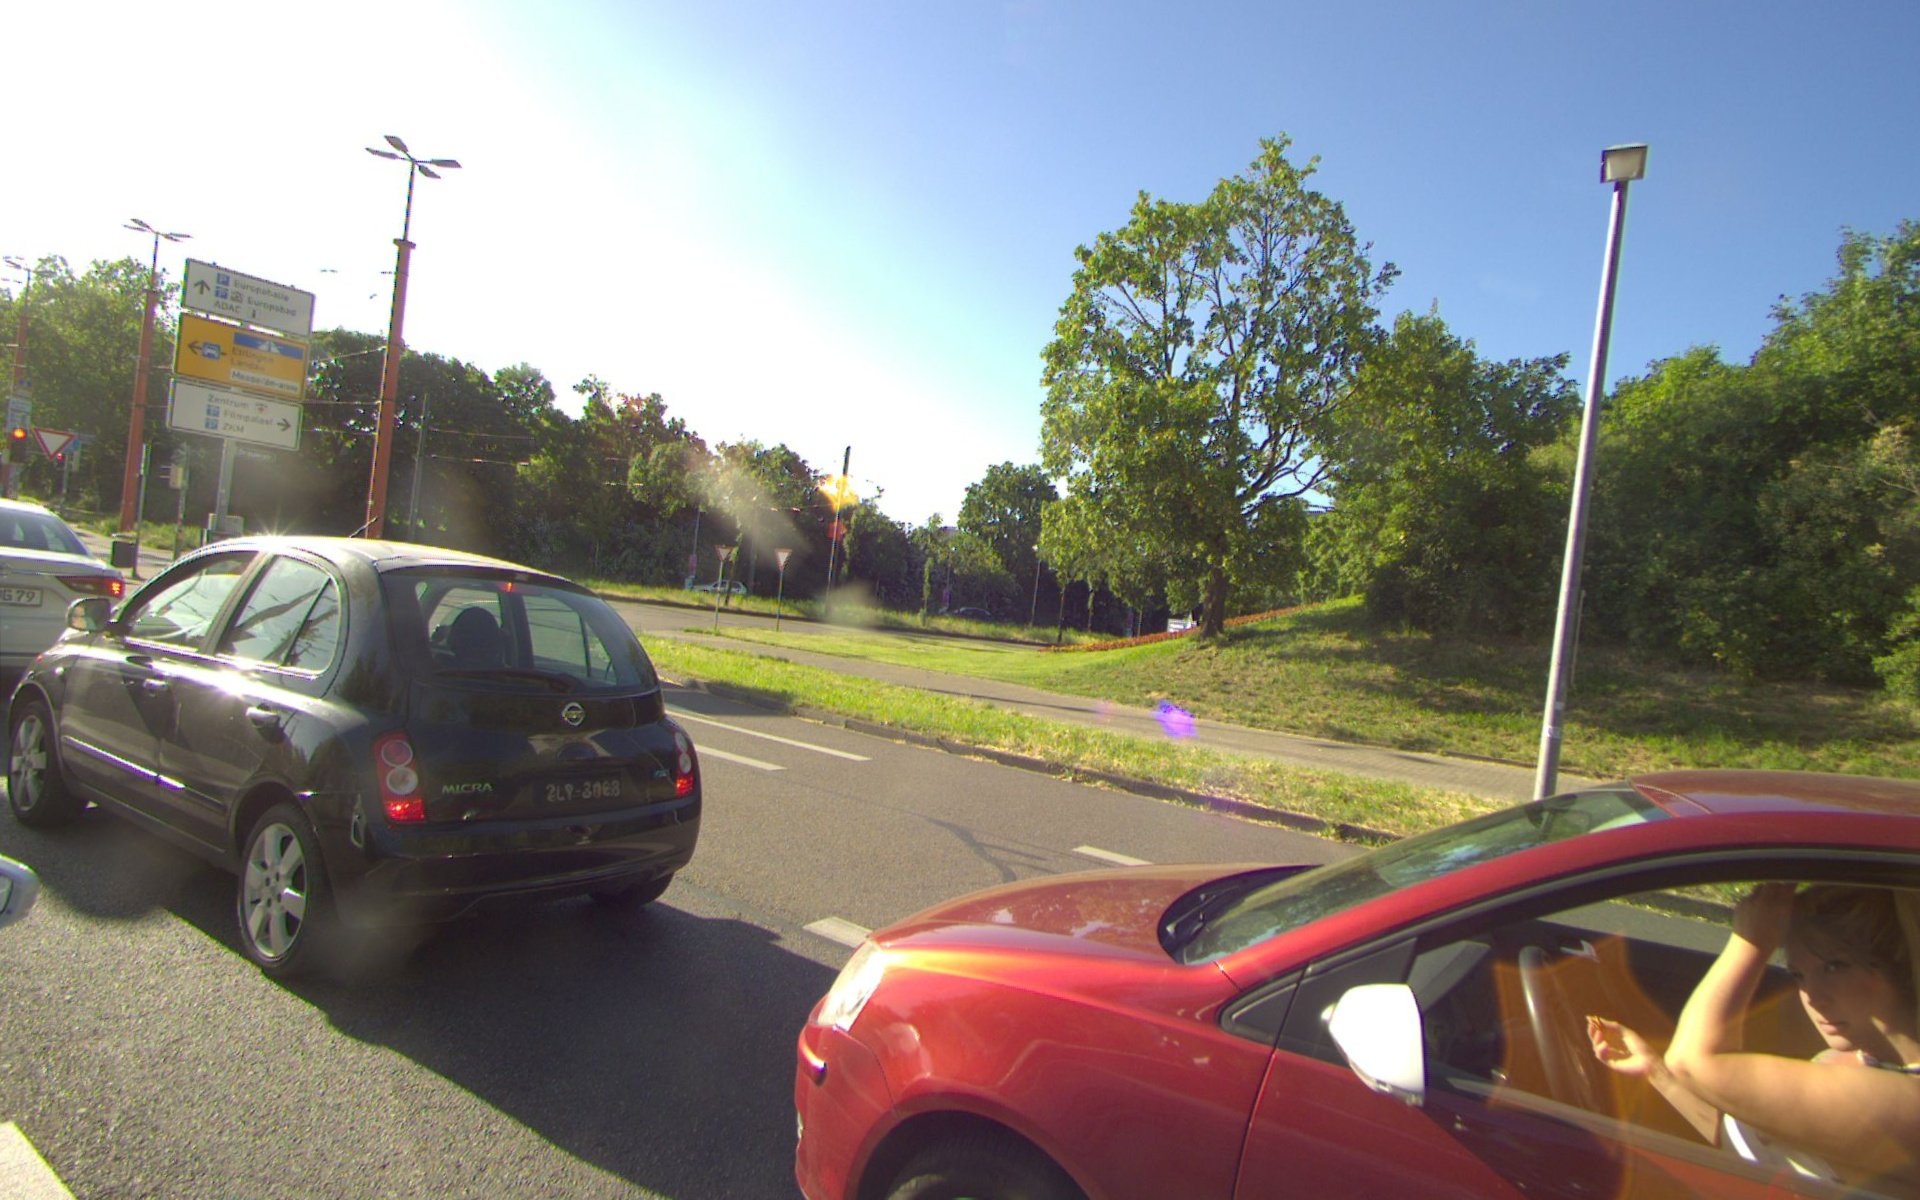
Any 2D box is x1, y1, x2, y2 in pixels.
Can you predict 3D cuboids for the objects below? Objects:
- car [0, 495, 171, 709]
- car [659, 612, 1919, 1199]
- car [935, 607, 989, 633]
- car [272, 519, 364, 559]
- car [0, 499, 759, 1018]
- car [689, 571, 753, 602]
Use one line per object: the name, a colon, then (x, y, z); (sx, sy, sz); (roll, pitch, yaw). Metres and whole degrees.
car: (-8.368, -0.175, 8.078); (4.256, 1.457, 1.802); (6, -2, 33)
car: (1.347, 1.002, 1.867); (3.629, 1.477, 1.579); (6, -2, 32)
car: (0.172, 1.521, 75.983); (3.774, 1.419, 1.639); (9, -1, -38)
car: (-35.487, -3.344, 55.713); (4.105, 1.528, 1.644); (8, -1, -31)
car: (-2.795, 0.467, 4.623); (3.385, 1.457, 1.579); (6, -2, 32)
car: (-16.078, -0.910, 67.738); (3.764, 1.528, 1.644); (8, -1, -31)
